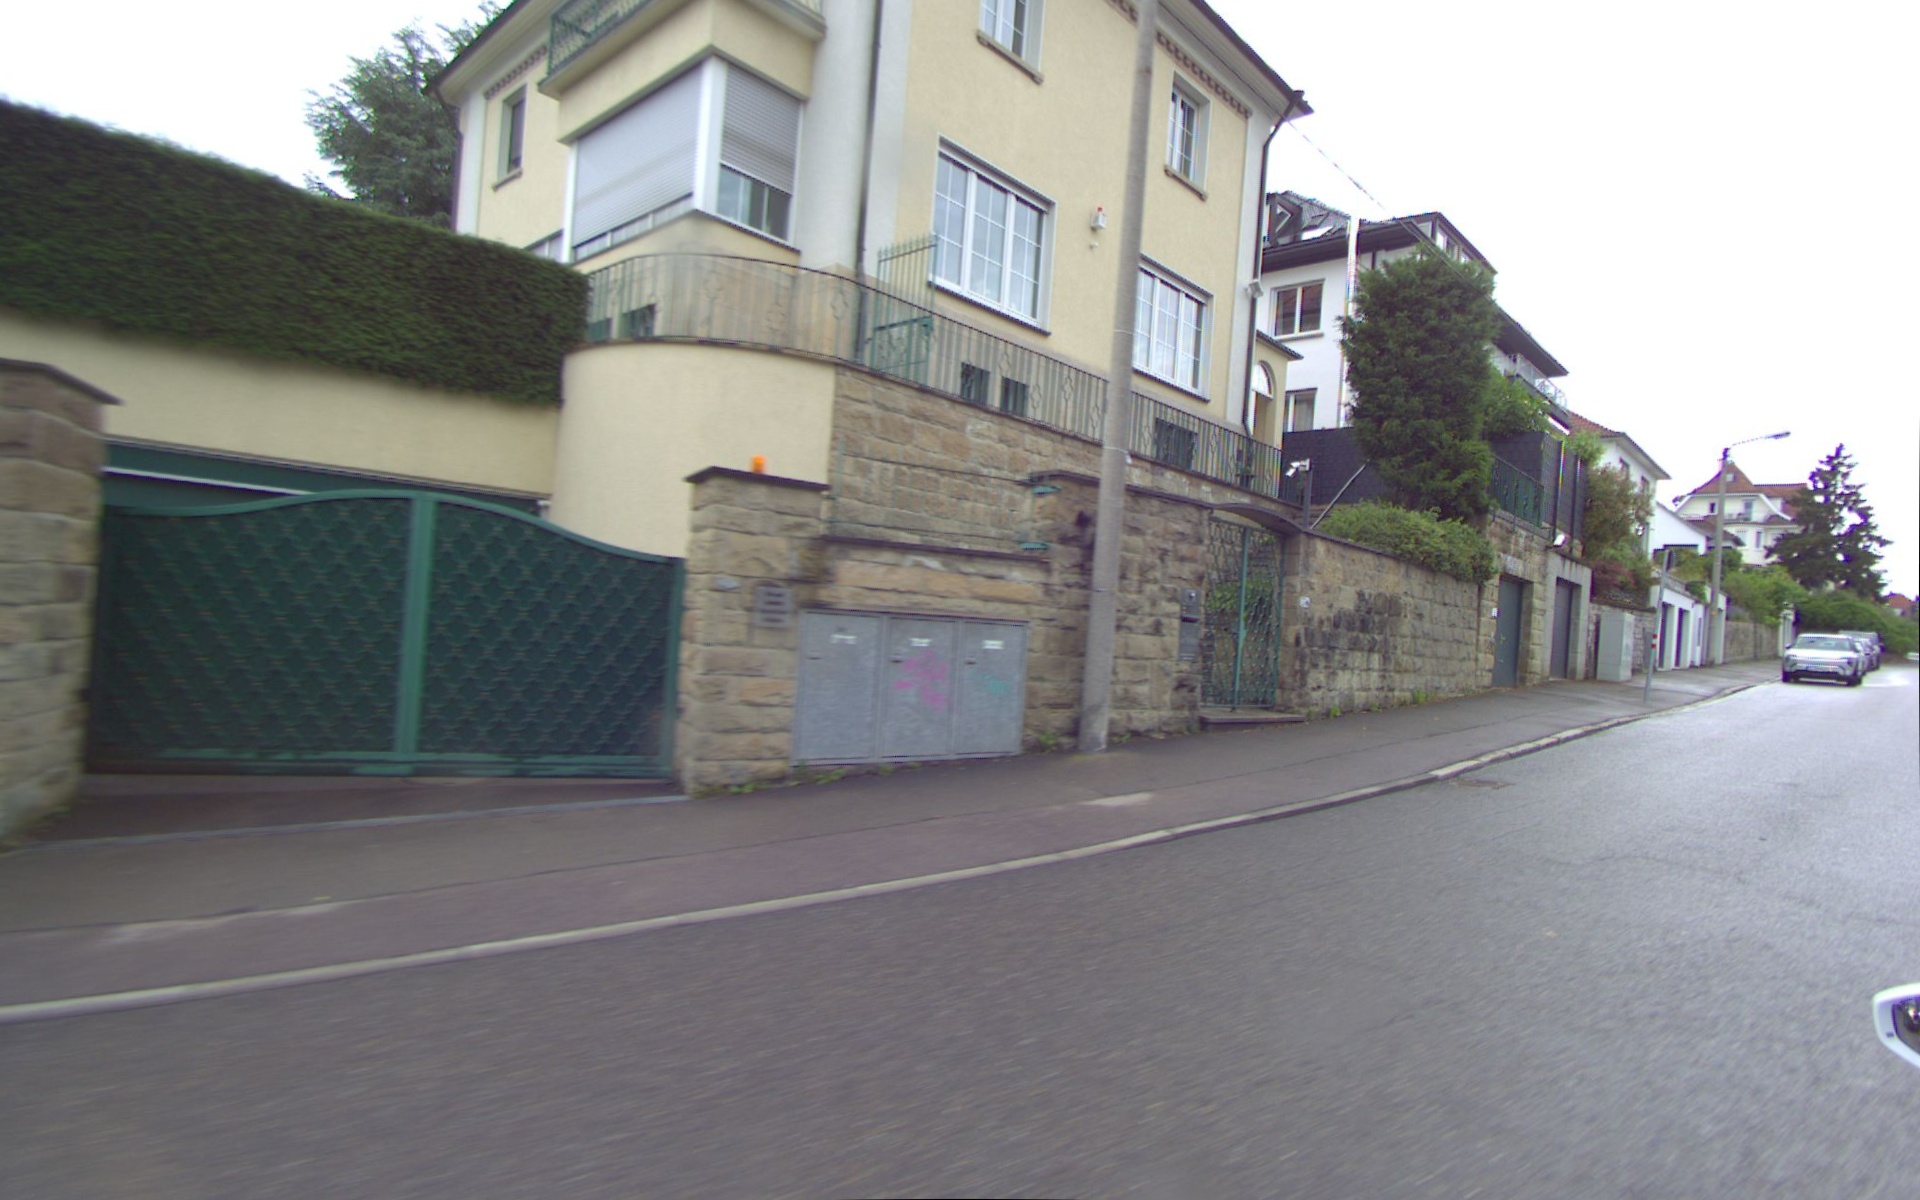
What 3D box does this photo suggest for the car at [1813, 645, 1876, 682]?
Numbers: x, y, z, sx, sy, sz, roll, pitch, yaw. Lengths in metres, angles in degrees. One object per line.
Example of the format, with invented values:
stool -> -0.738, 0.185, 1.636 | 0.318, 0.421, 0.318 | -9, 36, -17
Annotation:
car -> 37.182, 2.637, 42.212 | 3.814, 1.355, 1.594 | 2, 1, -43

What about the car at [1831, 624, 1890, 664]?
car -> 47.703, 2.290, 53.306 | 2.104, 1.885, 5.566 | 3, 1, 41

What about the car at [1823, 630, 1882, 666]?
car -> 43.551, 2.314, 49.002 | 1.878, 1.535, 4.315 | 4, 1, 44

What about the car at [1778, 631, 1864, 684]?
car -> 28.300, 1.824, 32.976 | 1.878, 1.588, 4.212 | 0, -2, 44
